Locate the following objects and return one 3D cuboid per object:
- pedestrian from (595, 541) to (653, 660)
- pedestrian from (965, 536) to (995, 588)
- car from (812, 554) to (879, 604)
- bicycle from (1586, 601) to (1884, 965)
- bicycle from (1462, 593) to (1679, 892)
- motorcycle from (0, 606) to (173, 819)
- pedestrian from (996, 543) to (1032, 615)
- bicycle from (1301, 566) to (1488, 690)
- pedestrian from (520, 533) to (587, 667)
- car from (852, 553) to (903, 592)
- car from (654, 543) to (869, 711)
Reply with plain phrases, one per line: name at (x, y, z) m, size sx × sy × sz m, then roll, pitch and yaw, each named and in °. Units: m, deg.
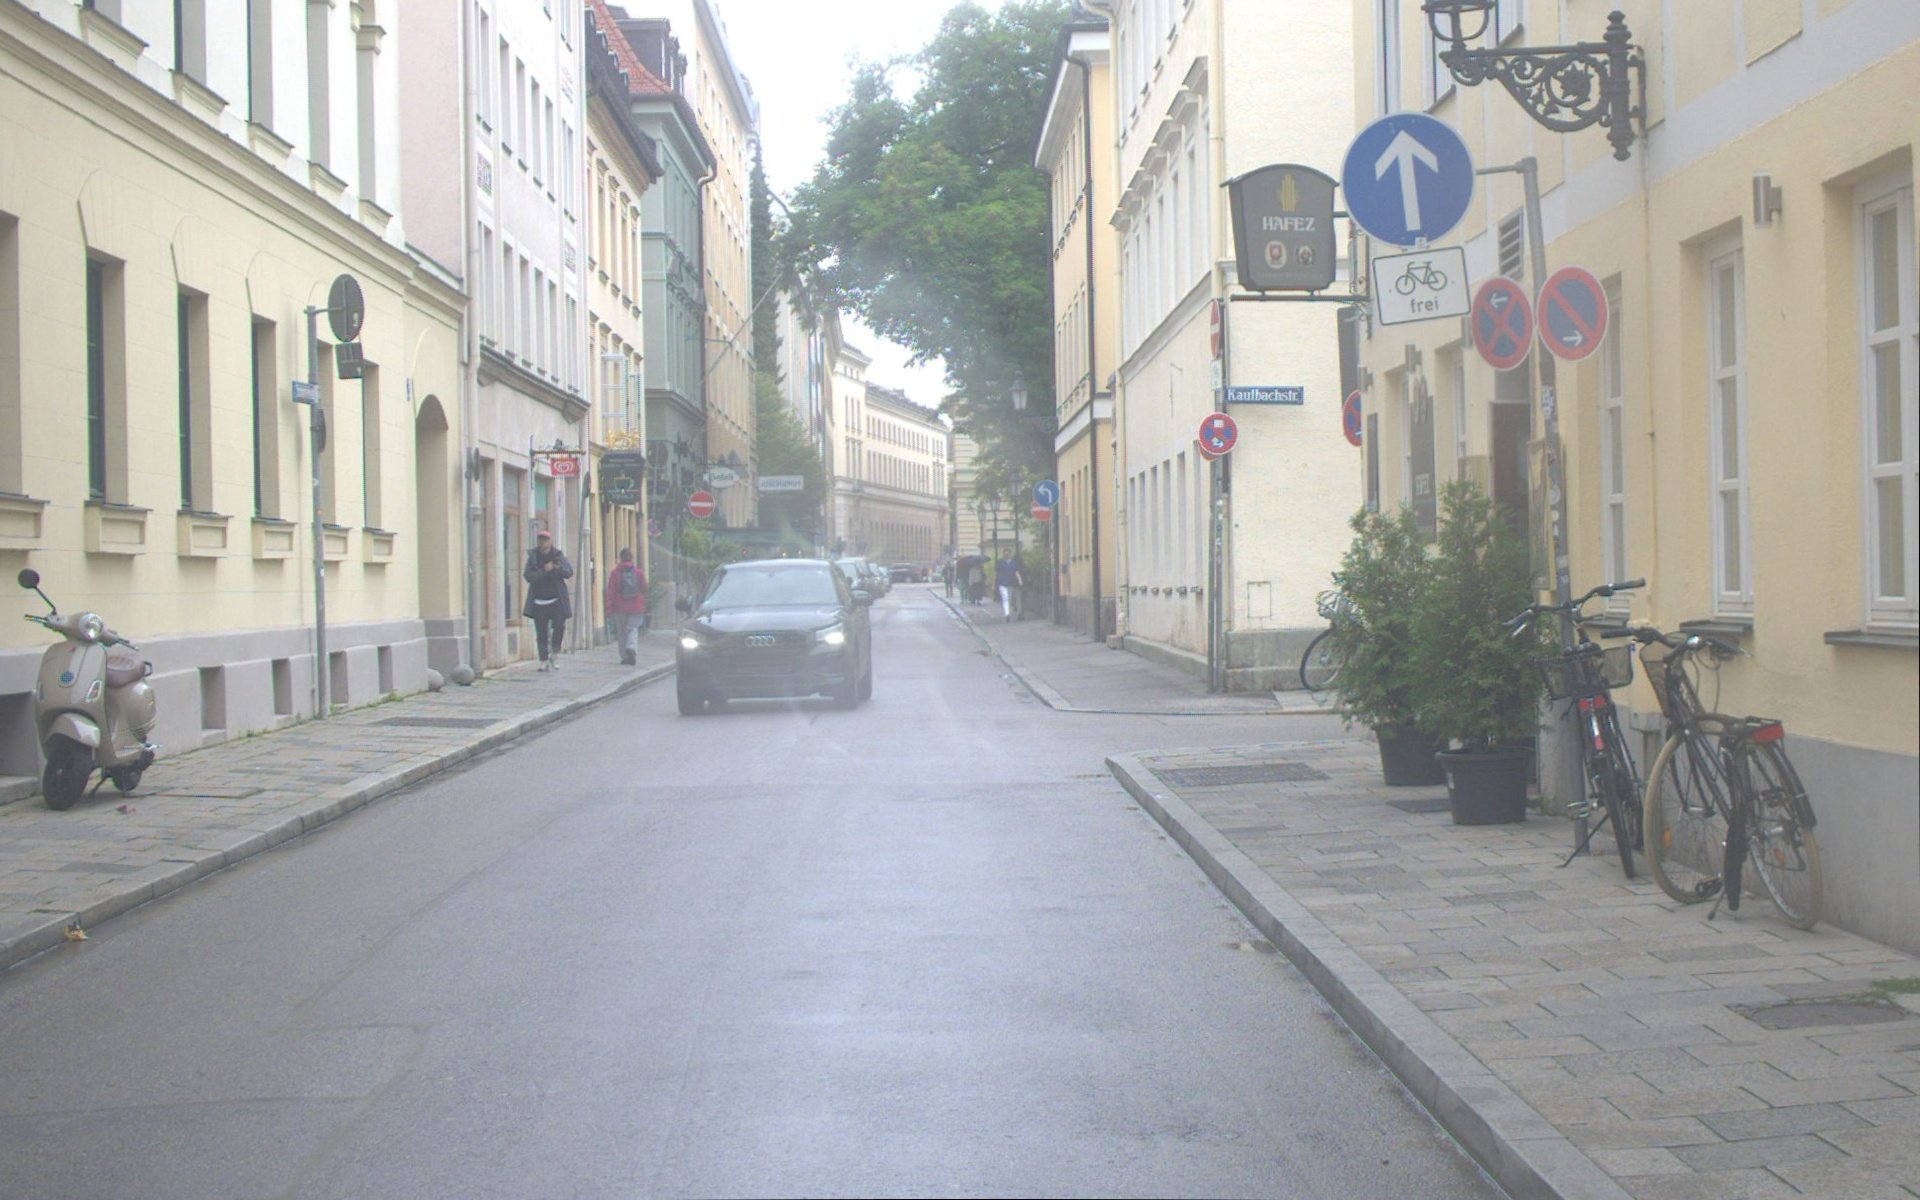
pedestrian at (-4.895, 0.004, 50.156) m, size 0.765 × 1.702 × 0.785 m, roll -2°, pitch 1°, yaw -3°
pedestrian at (0.682, -1.309, 119.053) m, size 1.015 × 1.796 × 1.349 m, roll 0°, pitch 1°, yaw 0°
car at (-3.441, -0.646, 103.721) m, size 1.779 × 1.461 × 3.542 m, roll 0°, pitch 1°, yaw 2°
bicycle at (2.731, 0.604, 12.302) m, size 0.565 × 1.133 × 1.988 m, roll -3°, pitch 1°, yaw 0°
bicycle at (2.552, 0.566, 14.521) m, size 0.565 × 1.133 × 1.684 m, roll -3°, pitch 1°, yaw 0°
motorcycle at (-5.164, 0.641, 20.379) m, size 0.602 × 1.170 × 1.709 m, roll -1°, pitch 1°, yaw 0°
pedestrian at (1.356, -0.537, 86.079) m, size 0.880 × 1.796 × 1.046 m, roll 0°, pitch 1°, yaw 0°
bicycle at (4.321, 0.277, 34.239) m, size 1.757 × 1.140 × 0.586 m, roll -2°, pitch 3°, yaw 0°
pedestrian at (-5.404, -0.009, 45.737) m, size 0.809 × 1.749 × 0.990 m, roll 0°, pitch 2°, yaw -3°
car at (-3.180, -1.074, 133.449) m, size 1.779 × 1.461 × 3.542 m, roll 0°, pitch 1°, yaw 2°
car at (-1.970, 0.228, 35.158) m, size 1.812 × 1.588 × 4.000 m, roll -1°, pitch 1°, yaw 2°
